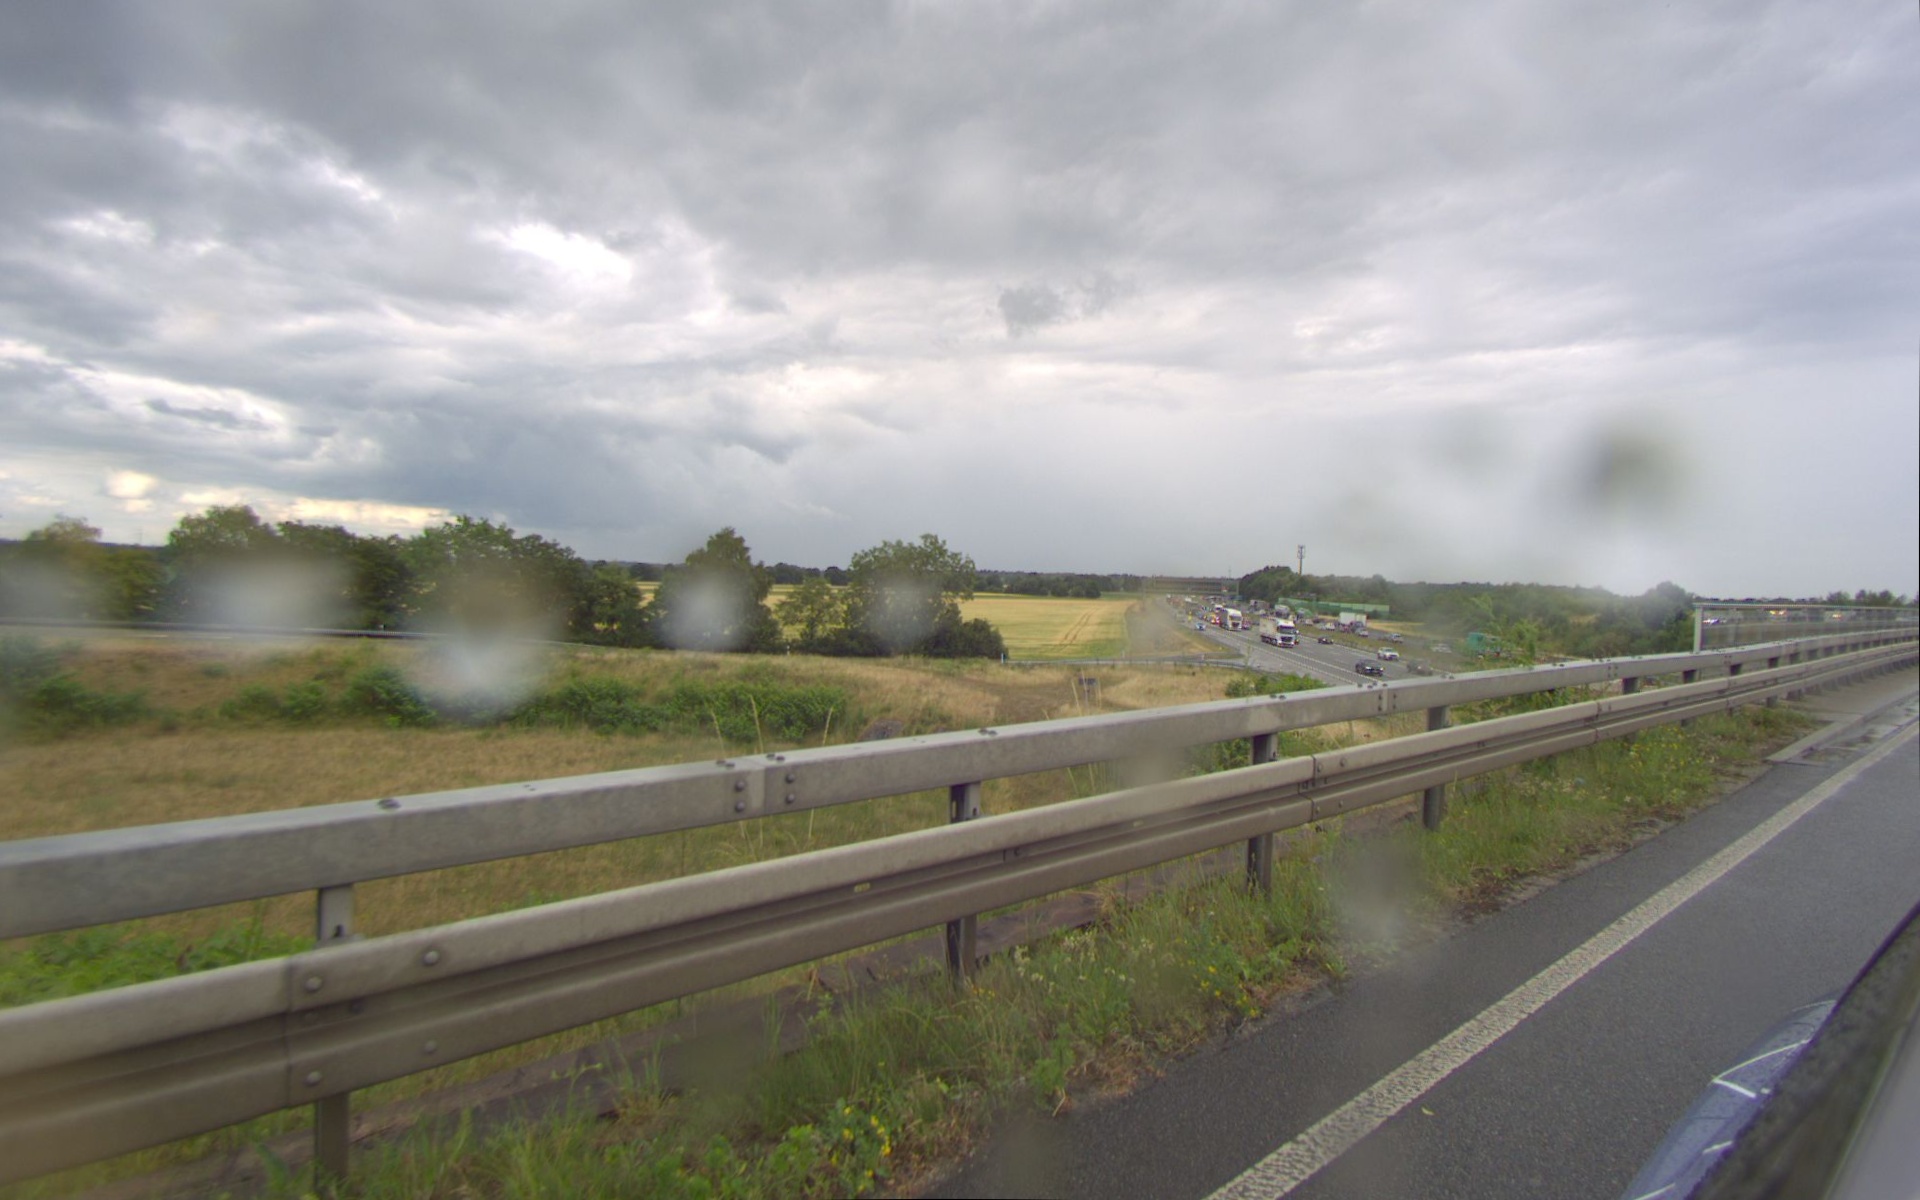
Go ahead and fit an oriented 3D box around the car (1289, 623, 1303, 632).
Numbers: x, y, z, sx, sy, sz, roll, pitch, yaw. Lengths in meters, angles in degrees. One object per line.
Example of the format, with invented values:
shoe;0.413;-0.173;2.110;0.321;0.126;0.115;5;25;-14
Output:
car;67.588;5.483;203.460;1.826;1.690;4.714;1;0;8

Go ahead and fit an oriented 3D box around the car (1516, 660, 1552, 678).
car;66.228;7.901;116.848;1.825;1.690;4.716;1;0;6

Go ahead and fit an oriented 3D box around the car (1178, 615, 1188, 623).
car;51.596;4.295;234.241;1.826;1.690;4.714;1;0;8

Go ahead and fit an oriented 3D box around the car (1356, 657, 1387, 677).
car;42.759;6.930;105.169;1.826;1.690;4.714;1;0;8

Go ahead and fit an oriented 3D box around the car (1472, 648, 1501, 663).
car;72.155;7.556;138.716;1.825;1.690;4.716;1;0;6

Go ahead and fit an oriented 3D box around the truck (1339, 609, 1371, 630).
truck;93.191;4.475;238.861;3.544;4.595;15.591;1;0;8

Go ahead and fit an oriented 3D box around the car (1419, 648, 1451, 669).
car;51.463;6.377;109.642;1.968;2.040;3.986;-5;-5;9

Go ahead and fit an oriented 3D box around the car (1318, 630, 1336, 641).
car;62.618;6.059;172.810;1.826;1.690;4.713;1;0;8

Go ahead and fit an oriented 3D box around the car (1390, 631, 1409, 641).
car;78.159;6.415;180.148;1.826;1.690;4.714;1;0;8

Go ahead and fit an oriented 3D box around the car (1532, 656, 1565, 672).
car;73.886;7.987;127.080;1.825;1.690;4.716;1;0;6

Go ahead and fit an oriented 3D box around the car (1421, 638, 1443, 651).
car;74.666;7.026;159.997;1.826;1.690;4.714;1;0;8

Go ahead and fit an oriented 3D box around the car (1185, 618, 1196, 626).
car;50.911;4.819;223.456;1.826;1.690;4.714;1;0;8

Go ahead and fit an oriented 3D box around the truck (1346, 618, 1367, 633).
truck;86.341;5.430;220.609;2.175;3.003;9.287;1;0;8

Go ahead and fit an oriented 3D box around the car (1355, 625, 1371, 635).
car;80.578;6.016;202.240;1.826;1.690;4.714;1;0;8

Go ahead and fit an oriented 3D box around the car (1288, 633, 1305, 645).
car;54.408;6.268;163.669;1.826;1.690;4.714;1;0;8

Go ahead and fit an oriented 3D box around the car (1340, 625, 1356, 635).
car;76.853;5.913;200.403;1.826;1.690;4.714;1;0;8

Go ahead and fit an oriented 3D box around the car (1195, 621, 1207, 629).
car;46.671;4.834;196.194;1.783;1.454;4.715;1;0;7

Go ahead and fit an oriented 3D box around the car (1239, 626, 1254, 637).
car;50.882;5.589;179.876;1.826;1.690;4.714;1;0;8

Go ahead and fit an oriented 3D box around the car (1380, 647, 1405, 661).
car;58.276;7.309;136.308;1.966;1.643;3.990;-4;-2;8

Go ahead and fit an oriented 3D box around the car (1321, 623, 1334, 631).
car;79.878;5.821;219.978;1.826;1.690;4.714;1;0;8

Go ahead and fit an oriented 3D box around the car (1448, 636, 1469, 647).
car;84.283;6.984;171.165;1.826;1.690;4.714;1;0;8

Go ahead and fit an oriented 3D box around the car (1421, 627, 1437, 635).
car;101.464;6.685;219.121;1.826;1.690;4.714;1;0;8

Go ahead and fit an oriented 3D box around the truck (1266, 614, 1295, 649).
truck;49.445;4.698;156.389;2.750;4.962;12.713;1;0;11

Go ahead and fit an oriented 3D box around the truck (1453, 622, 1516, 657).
truck;78.814;5.790;152.655;3.544;4.595;15.591;1;0;8

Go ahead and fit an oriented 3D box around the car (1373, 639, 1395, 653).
car;61.904;6.712;147.825;1.826;1.690;4.714;1;0;8

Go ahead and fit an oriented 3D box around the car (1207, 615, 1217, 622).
car;61.430;4.453;247.004;1.826;1.690;4.714;1;0;8

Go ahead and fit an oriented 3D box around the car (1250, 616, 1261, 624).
car;72.100;4.877;247.139;1.826;1.690;4.713;1;0;8

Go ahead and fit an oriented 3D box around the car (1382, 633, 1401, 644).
car;72.834;6.545;170.970;1.826;1.690;4.714;1;0;8

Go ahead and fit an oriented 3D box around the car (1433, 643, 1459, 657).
car;70.115;7.157;146.058;1.825;1.690;4.716;1;0;6

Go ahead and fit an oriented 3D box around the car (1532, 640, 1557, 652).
car;94.961;7.540;164.432;1.826;1.690;4.714;1;0;8

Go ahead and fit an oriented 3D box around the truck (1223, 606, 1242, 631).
truck;55.505;3.725;206.310;2.750;4.676;12.713;1;0;11

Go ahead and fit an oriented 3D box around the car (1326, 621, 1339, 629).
car;84.330;5.713;229.063;1.826;1.690;4.714;1;0;8

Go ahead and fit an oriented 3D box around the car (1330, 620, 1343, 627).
car;90.105;5.623;242.303;1.826;1.690;4.714;1;0;8

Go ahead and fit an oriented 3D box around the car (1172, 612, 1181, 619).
car;52.973;3.755;247.309;1.826;1.690;4.714;1;0;8

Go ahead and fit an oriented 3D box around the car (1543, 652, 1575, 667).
car;80.174;7.922;135.507;1.825;1.690;4.716;1;0;6
